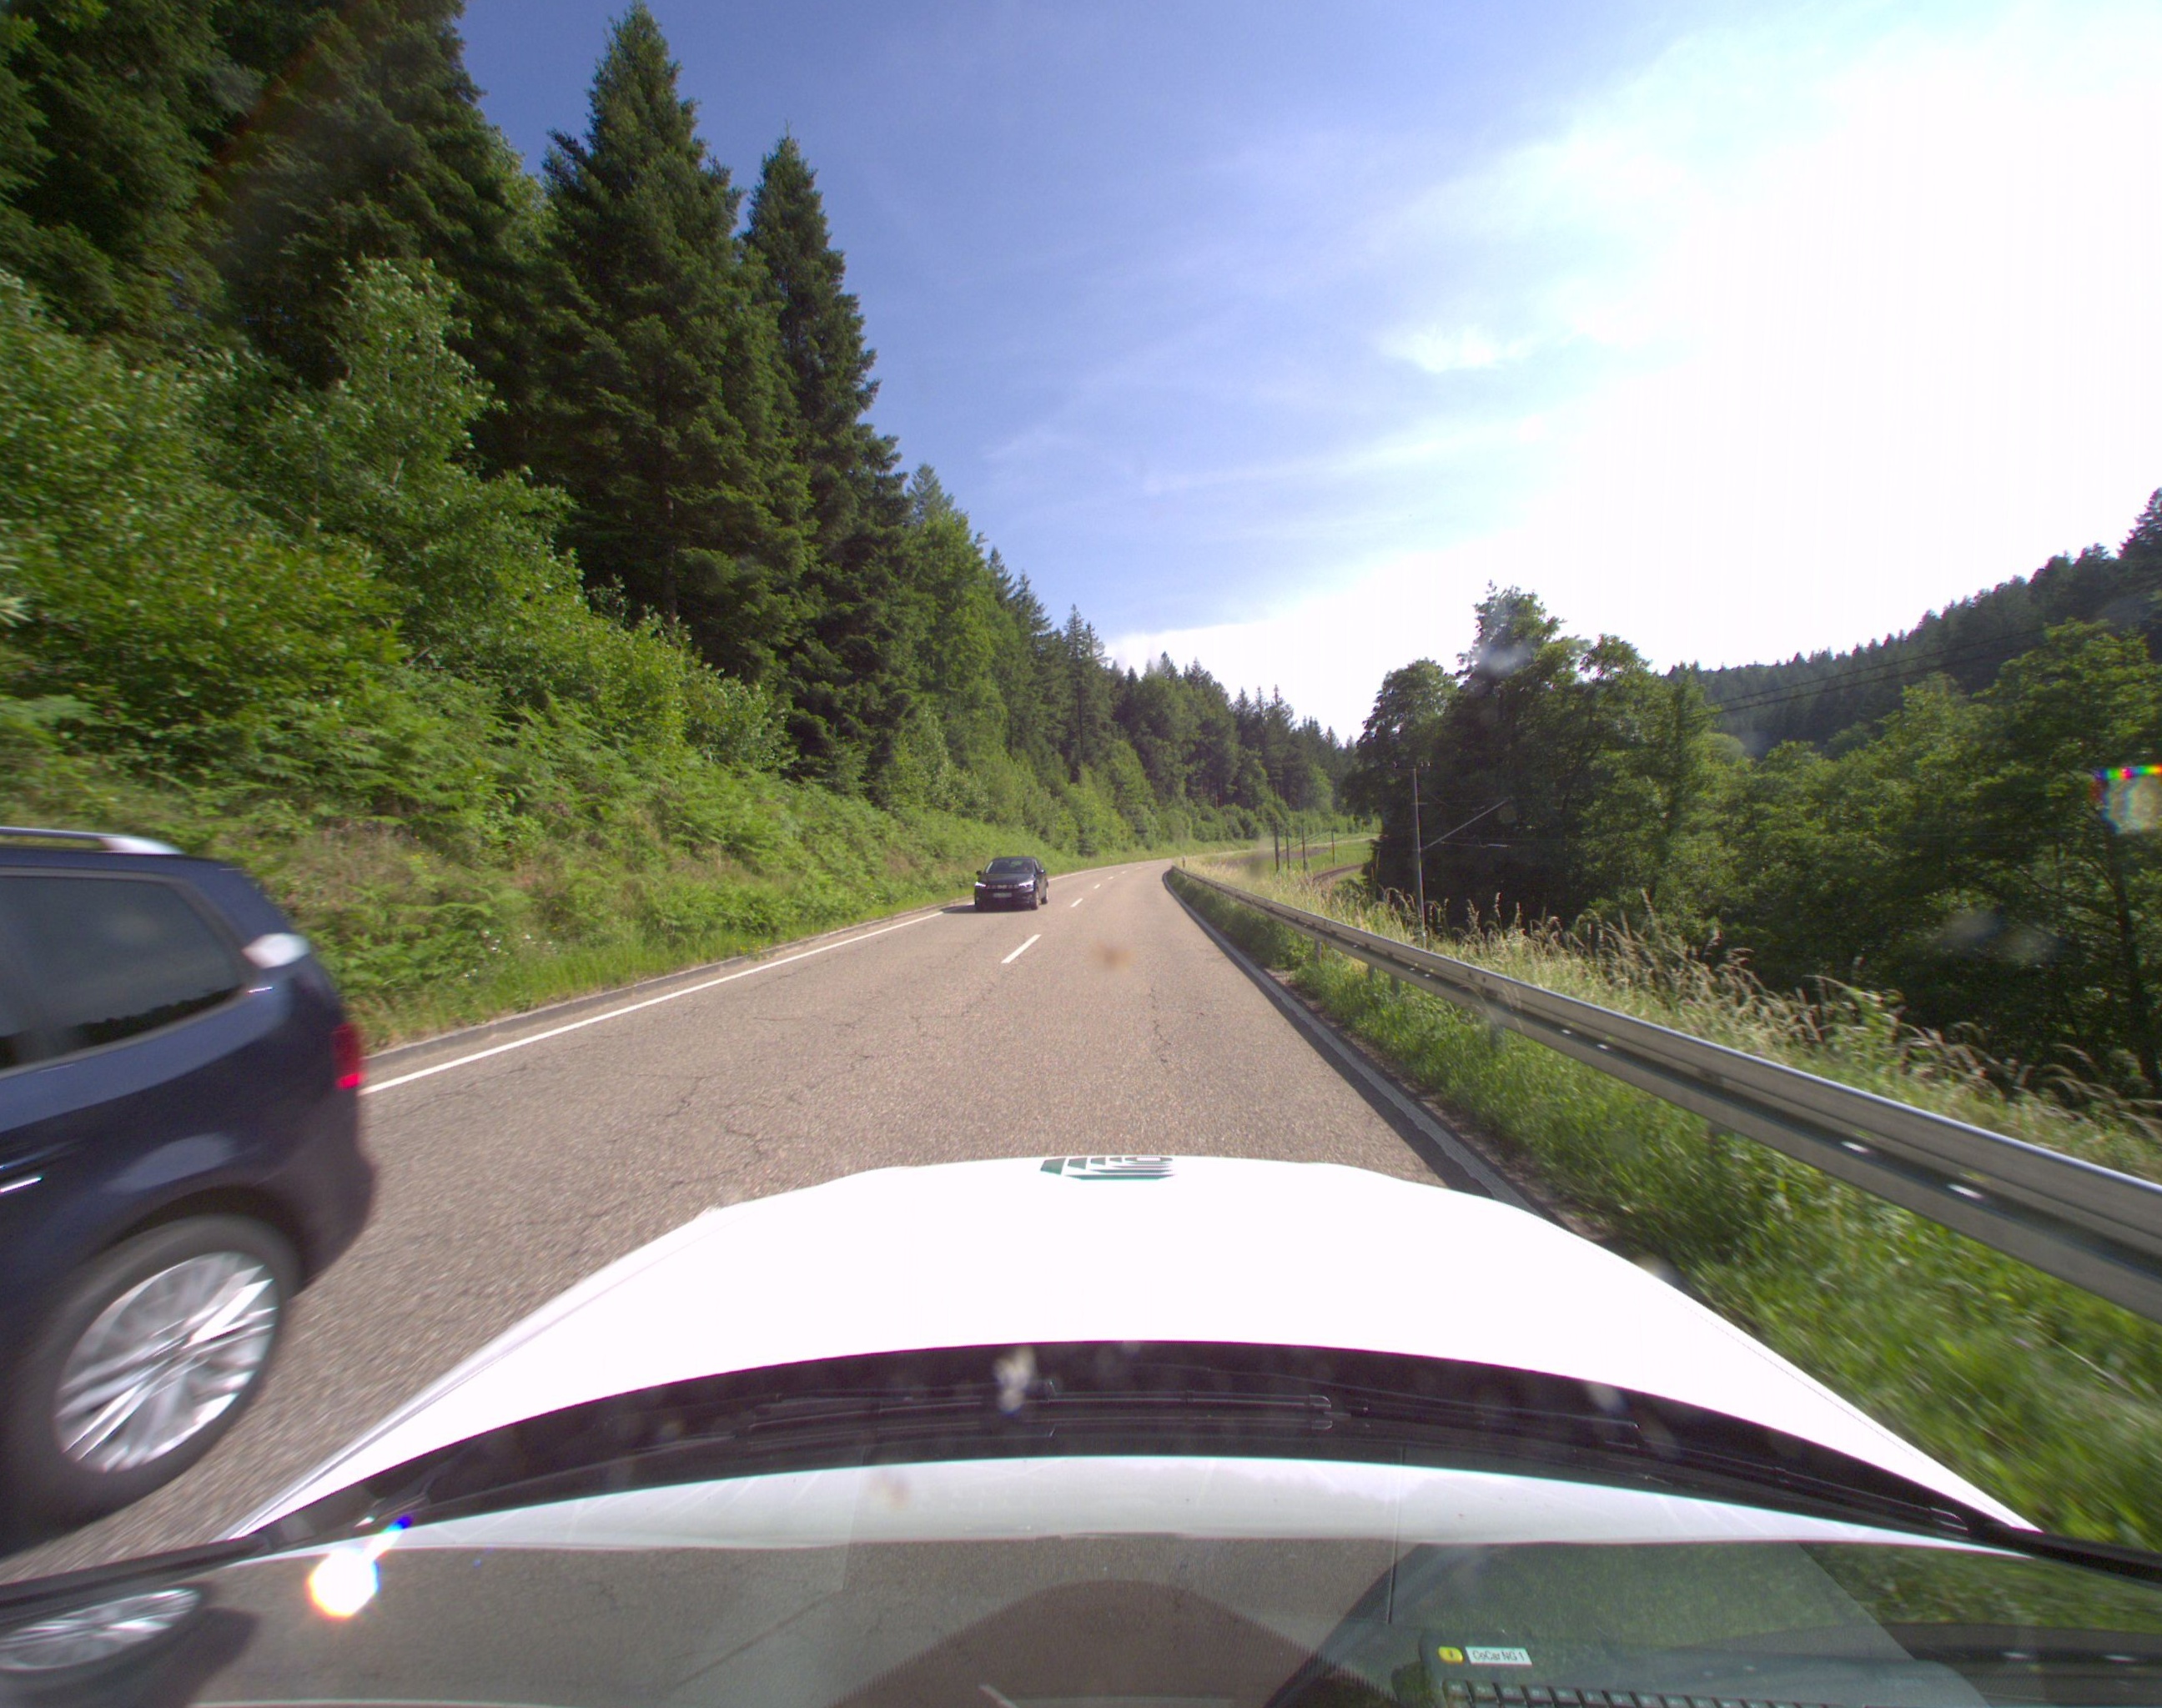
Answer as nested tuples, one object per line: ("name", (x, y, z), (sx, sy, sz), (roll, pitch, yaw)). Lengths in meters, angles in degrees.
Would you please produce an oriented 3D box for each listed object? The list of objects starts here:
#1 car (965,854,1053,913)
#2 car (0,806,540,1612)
("car", (-2.014, 0.791, 23.917), (1.849, 1.529, 4.006), (-2, 0, 5))
("car", (-3.140, 0.759, 1.051), (1.826, 1.628, 4.353), (-3, 0, 1))
